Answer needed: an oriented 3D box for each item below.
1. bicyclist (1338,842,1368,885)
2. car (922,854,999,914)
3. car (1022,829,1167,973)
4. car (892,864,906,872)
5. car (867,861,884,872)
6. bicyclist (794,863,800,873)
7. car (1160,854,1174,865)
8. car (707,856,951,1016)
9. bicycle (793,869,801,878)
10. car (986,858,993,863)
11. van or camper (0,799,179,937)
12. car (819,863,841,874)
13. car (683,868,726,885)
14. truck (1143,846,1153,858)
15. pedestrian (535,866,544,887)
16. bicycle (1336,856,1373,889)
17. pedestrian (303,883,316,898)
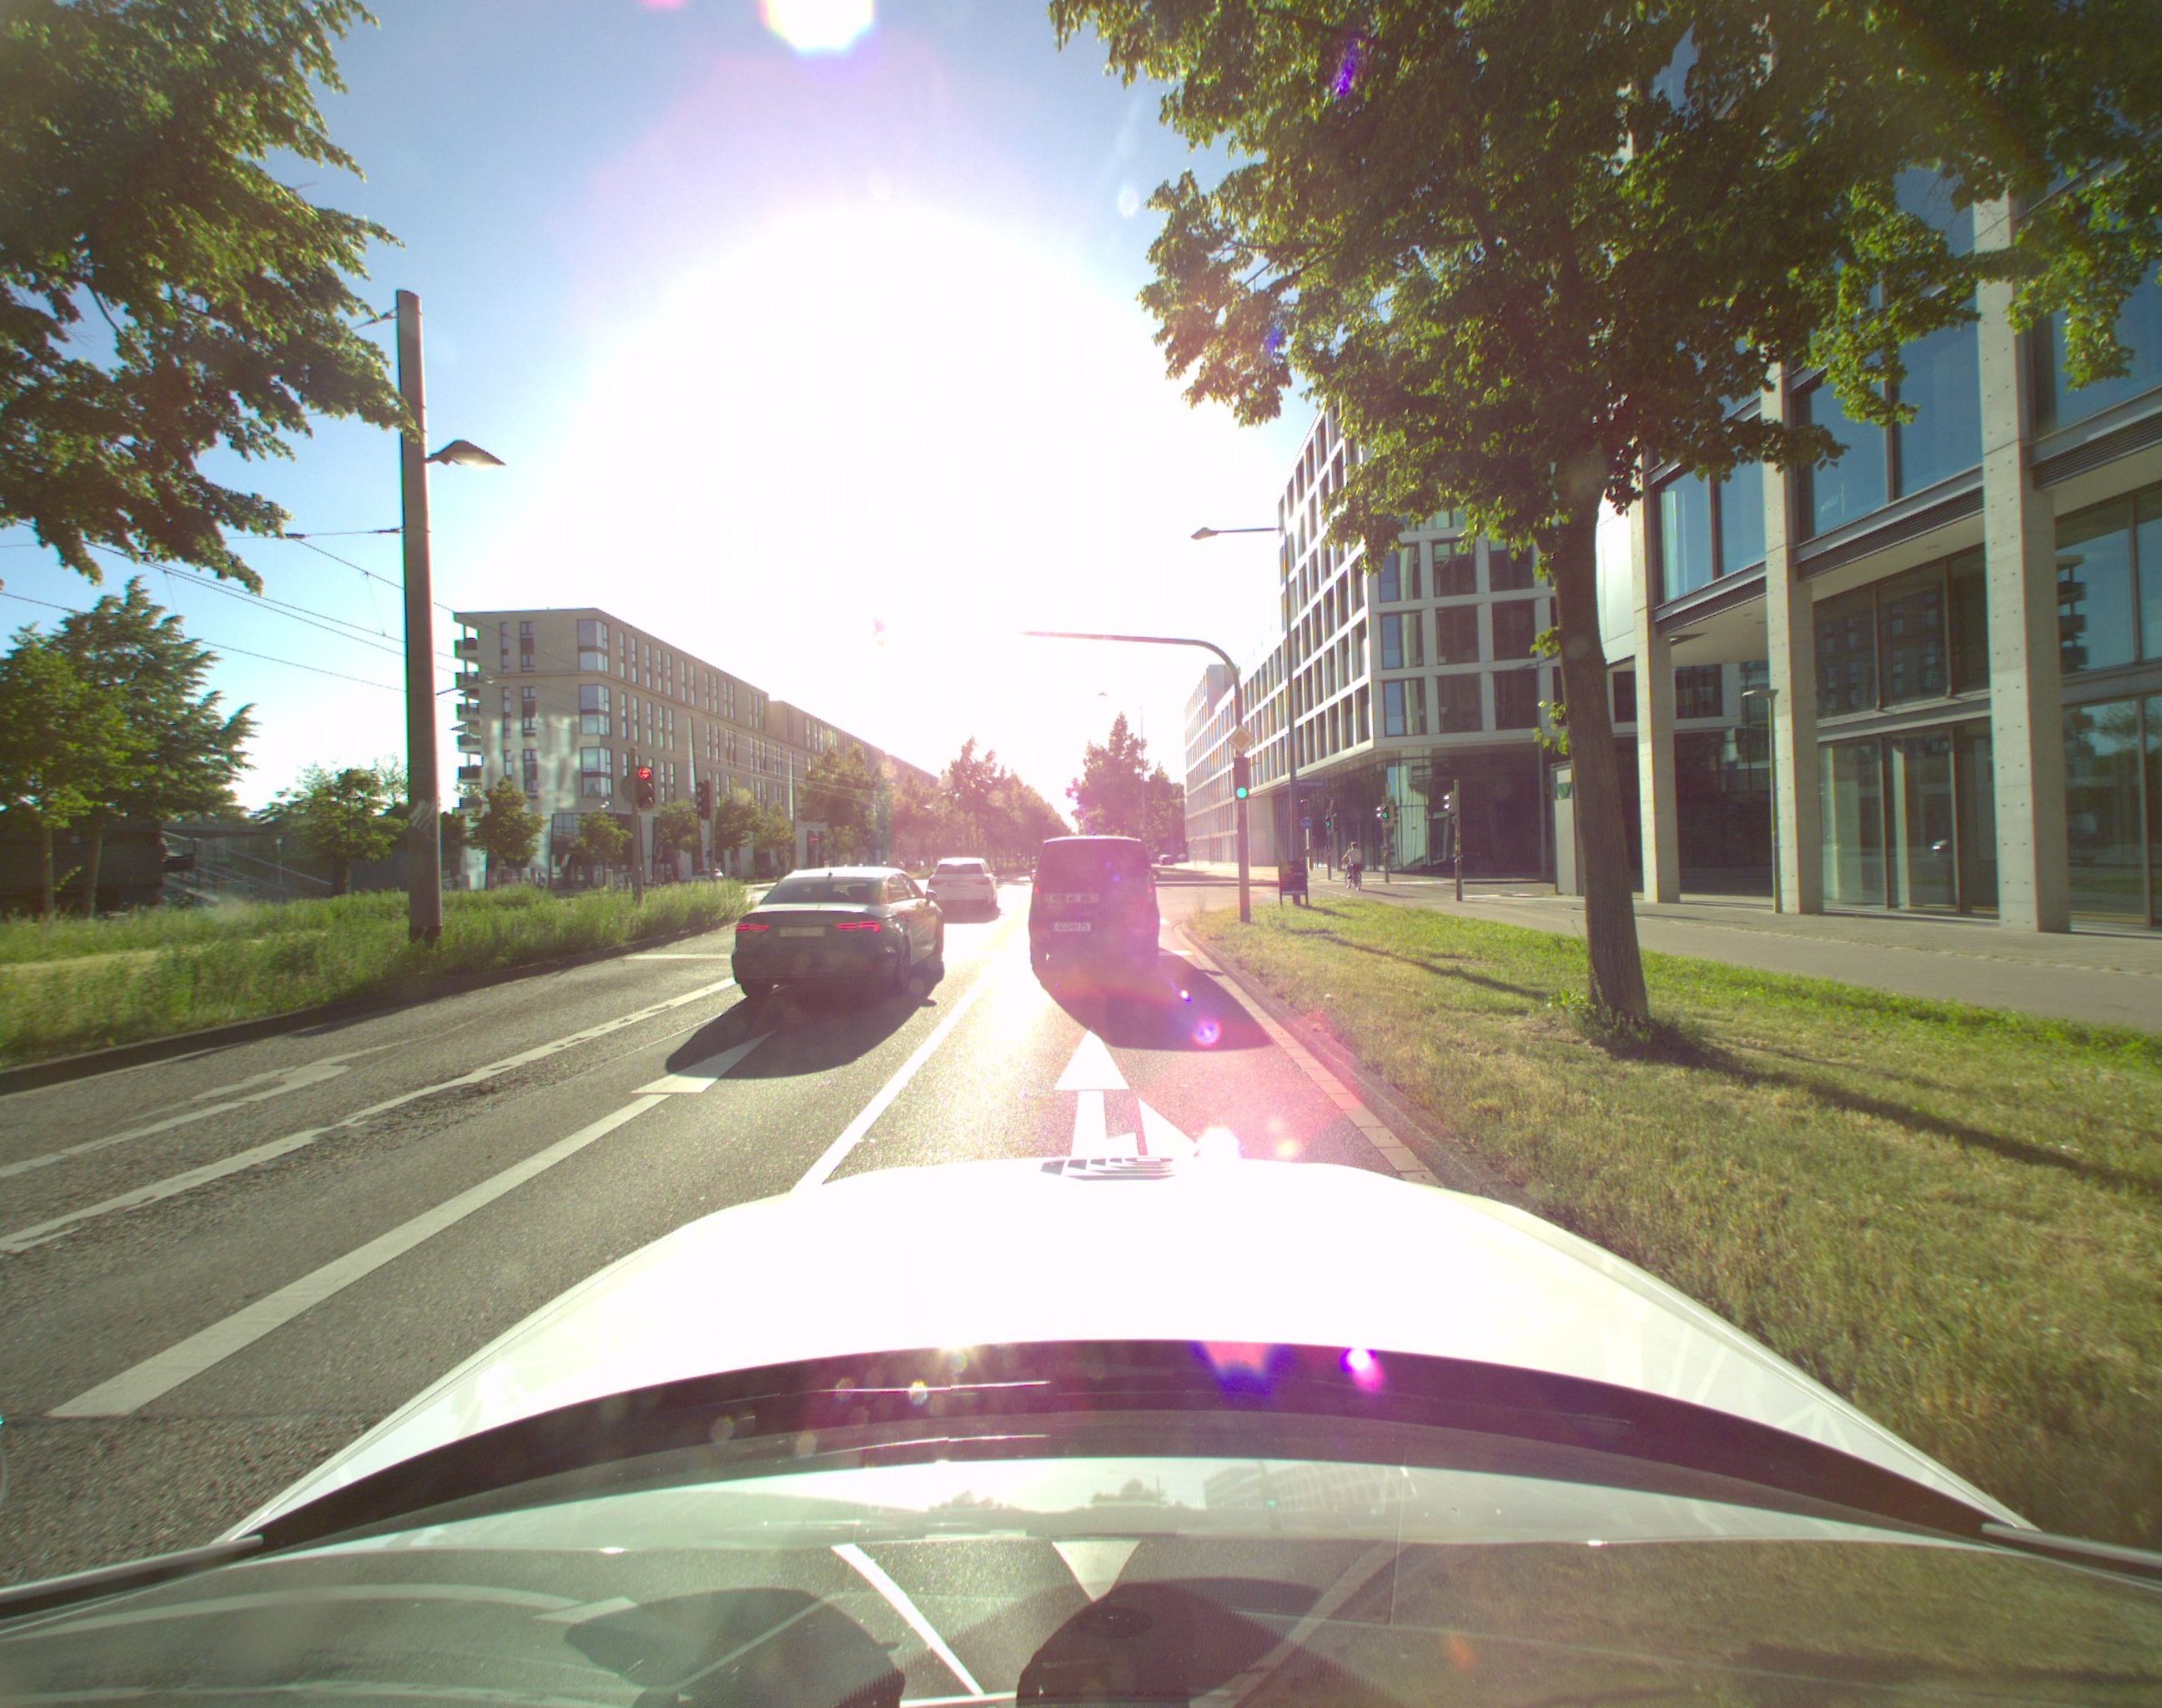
[{"bbox_3d":[10.002,0.350,29.964,0.769,1.531,0.850,-2,0,1],"label":"bicyclist"},{"bbox_3d":[-3.217,0.760,22.483,1.805,1.434,4.106,-2,0,-5],"label":"car"},{"bbox_3d":[0.244,0.603,12.465,1.801,1.794,4.115,-2,0,2],"label":"car"},{"bbox_3d":[-31.668,2.410,141.974,1.575,1.342,3.712,-2,0,1],"label":"car"},{"bbox_3d":[-32.574,1.977,129.152,1.770,1.528,3.806,-2,0,1],"label":"car"},{"bbox_3d":[-36.857,1.802,105.606,0.577,1.293,0.703,-1,-1,-6],"label":"bicyclist"},{"bbox_3d":[12.656,0.792,119.752,1.751,1.611,3.906,-1,0,2],"label":"car"},{"bbox_3d":[-2.828,0.812,10.137,1.803,1.527,4.110,-2,0,-2],"label":"car"},{"bbox_3d":[-36.864,2.576,105.703,0.527,1.111,1.635,-1,-1,-4],"label":"bicycle"},{"bbox_3d":[-28.963,1.981,258.355,1.750,1.574,4.000,-2,0,1],"label":"car"},{"bbox_3d":[-34.097,0.463,24.299,2.743,4.192,10.232,-2,0,1],"label":"van or camper"},{"bbox_3d":[-31.899,1.808,103.678,1.575,1.342,3.712,-2,0,1],"label":"car"},{"bbox_3d":[-32.594,1.924,70.655,1.575,1.342,4.472,-2,0,1],"label":"car"},{"bbox_3d":[15.643,-0.435,190.460,1.825,2.501,5.932,-1,-1,1],"label":"truck"},{"bbox_3d":[-46.520,1.956,69.928,0.603,1.771,0.665,0,-1,-35],"label":"pedestrian"},{"bbox_3d":[10.063,0.667,30.023,0.739,1.174,1.961,-2,0,1],"label":"bicycle"},{"bbox_3d":[-59.706,2.793,63.040,0.437,1.125,0.600,-1,-1,3],"label":"pedestrian"}]
